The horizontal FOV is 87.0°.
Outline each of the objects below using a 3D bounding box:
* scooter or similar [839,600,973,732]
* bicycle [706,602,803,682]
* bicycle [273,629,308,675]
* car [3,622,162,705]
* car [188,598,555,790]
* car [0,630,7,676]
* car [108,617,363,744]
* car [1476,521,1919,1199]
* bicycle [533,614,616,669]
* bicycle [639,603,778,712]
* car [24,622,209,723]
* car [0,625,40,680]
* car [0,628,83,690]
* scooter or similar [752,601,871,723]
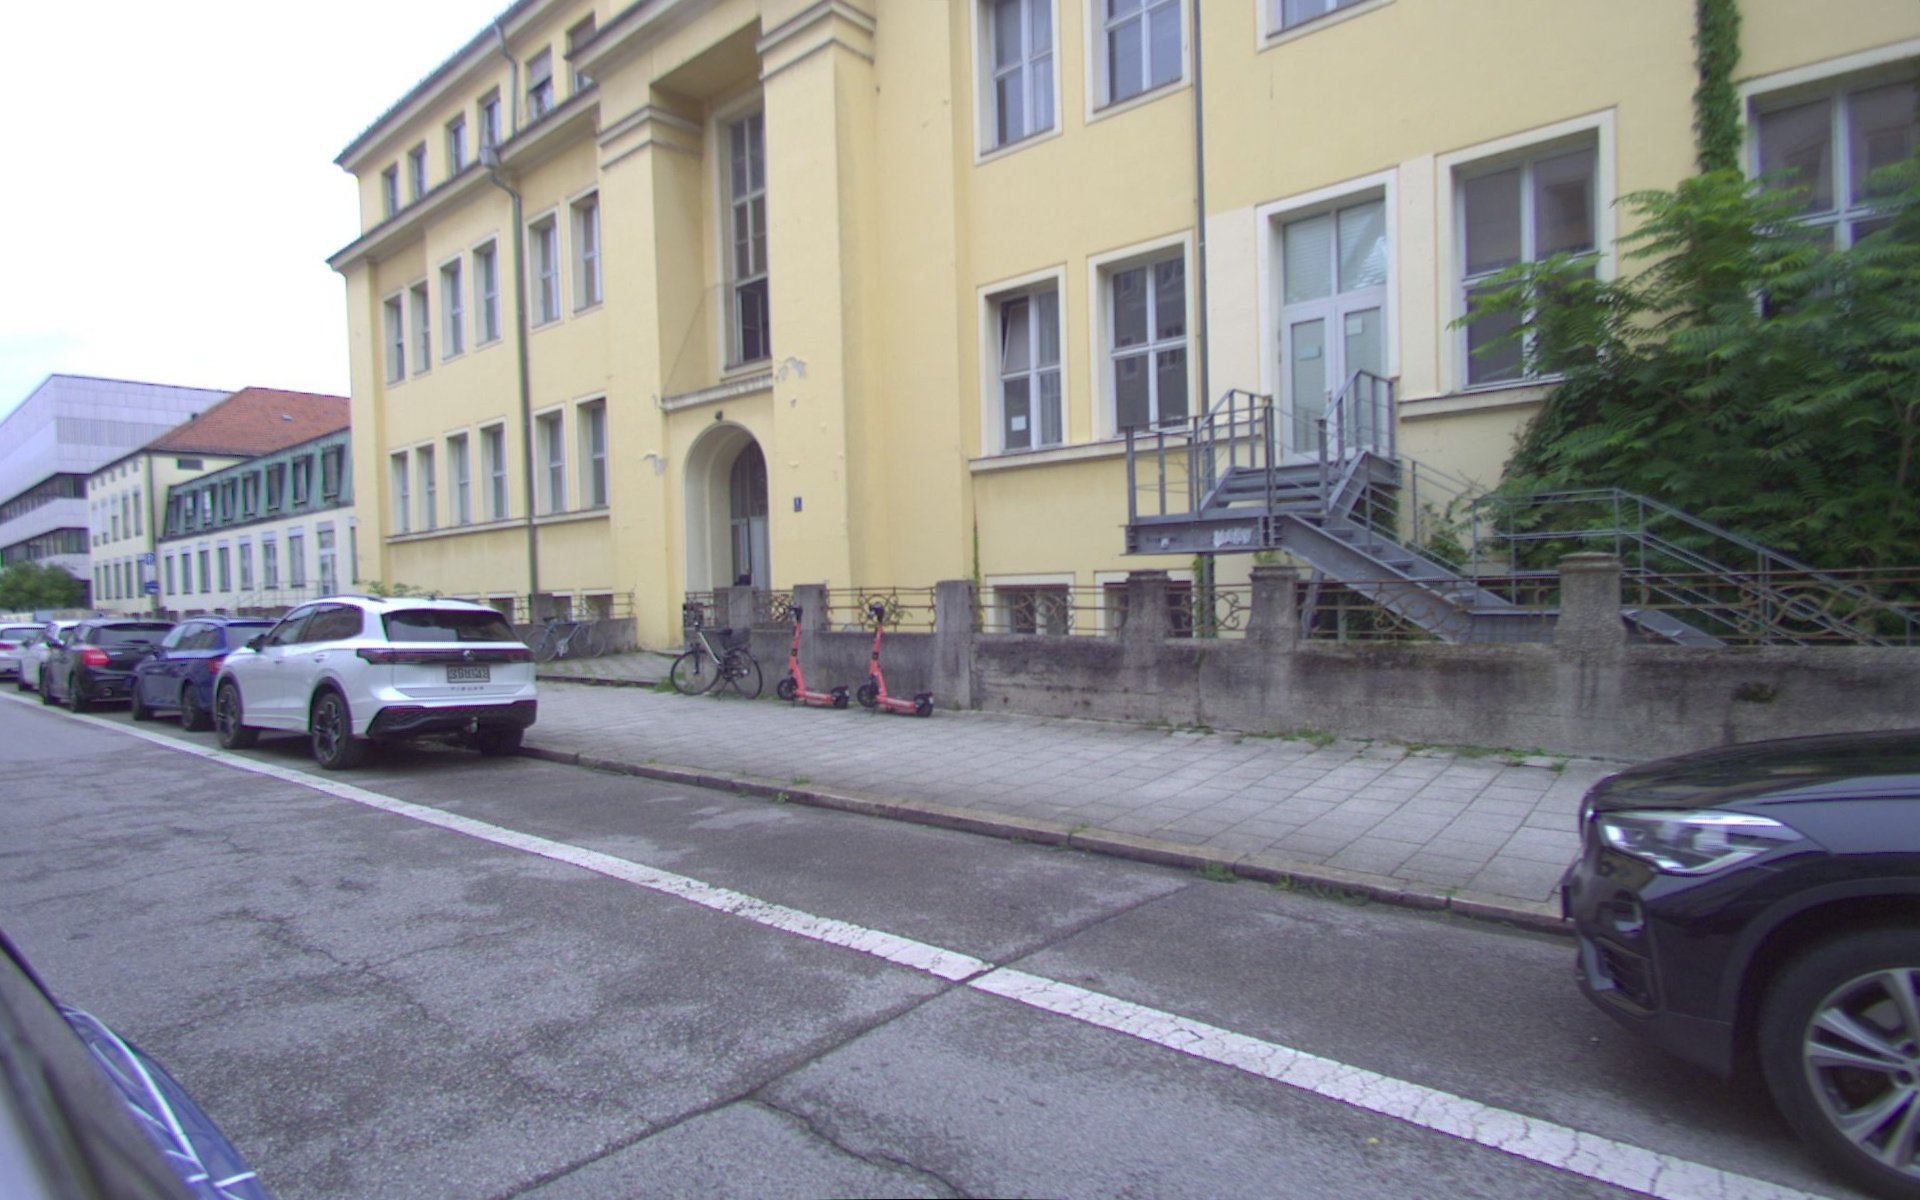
[{"bbox_3d":[-0.619,0.706,11.291,1.500,1.379,0.554,-2,0,41],"label":"scooter or similar"},{"bbox_3d":[-3.466,0.684,17.156,0.526,1.278,1.609,-2,0,41],"label":"bicycle"},{"bbox_3d":[-16.916,1.306,25.571,0.530,1.070,1.643,-2,1,-40],"label":"bicycle"},{"bbox_3d":[-18.114,1.210,20.816,4.648,1.442,1.767,-1,1,40],"label":"car"},{"bbox_3d":[-6.481,0.844,10.890,4.849,1.646,1.729,-1,-1,38],"label":"car"},{"bbox_3d":[-31.976,1.660,32.155,4.347,1.416,1.733,-1,-2,37],"label":"car"},{"bbox_3d":[-10.221,1.046,14.149,4.490,1.514,1.686,-1,-4,39],"label":"car"},{"bbox_3d":[3.900,0.617,2.082,4.812,1.599,1.772,-1,-2,38],"label":"car"},{"bbox_3d":[-7.908,0.832,20.814,0.425,1.058,1.643,-2,0,33],"label":"bicycle"},{"bbox_3d":[-3.388,0.729,13.538,2.112,1.338,0.674,-1,1,41],"label":"bicycle"},{"bbox_3d":[-14.357,1.147,17.157,4.146,1.508,1.682,-1,-3,40],"label":"car"},{"bbox_3d":[-28.381,1.479,29.203,4.522,1.493,1.939,-1,-2,38],"label":"car"},{"bbox_3d":[-23.952,1.446,25.637,4.659,1.440,1.776,-1,-2,39],"label":"car"},{"bbox_3d":[-1.821,0.725,12.271,1.500,1.379,0.554,-2,0,41],"label":"scooter or similar"}]
